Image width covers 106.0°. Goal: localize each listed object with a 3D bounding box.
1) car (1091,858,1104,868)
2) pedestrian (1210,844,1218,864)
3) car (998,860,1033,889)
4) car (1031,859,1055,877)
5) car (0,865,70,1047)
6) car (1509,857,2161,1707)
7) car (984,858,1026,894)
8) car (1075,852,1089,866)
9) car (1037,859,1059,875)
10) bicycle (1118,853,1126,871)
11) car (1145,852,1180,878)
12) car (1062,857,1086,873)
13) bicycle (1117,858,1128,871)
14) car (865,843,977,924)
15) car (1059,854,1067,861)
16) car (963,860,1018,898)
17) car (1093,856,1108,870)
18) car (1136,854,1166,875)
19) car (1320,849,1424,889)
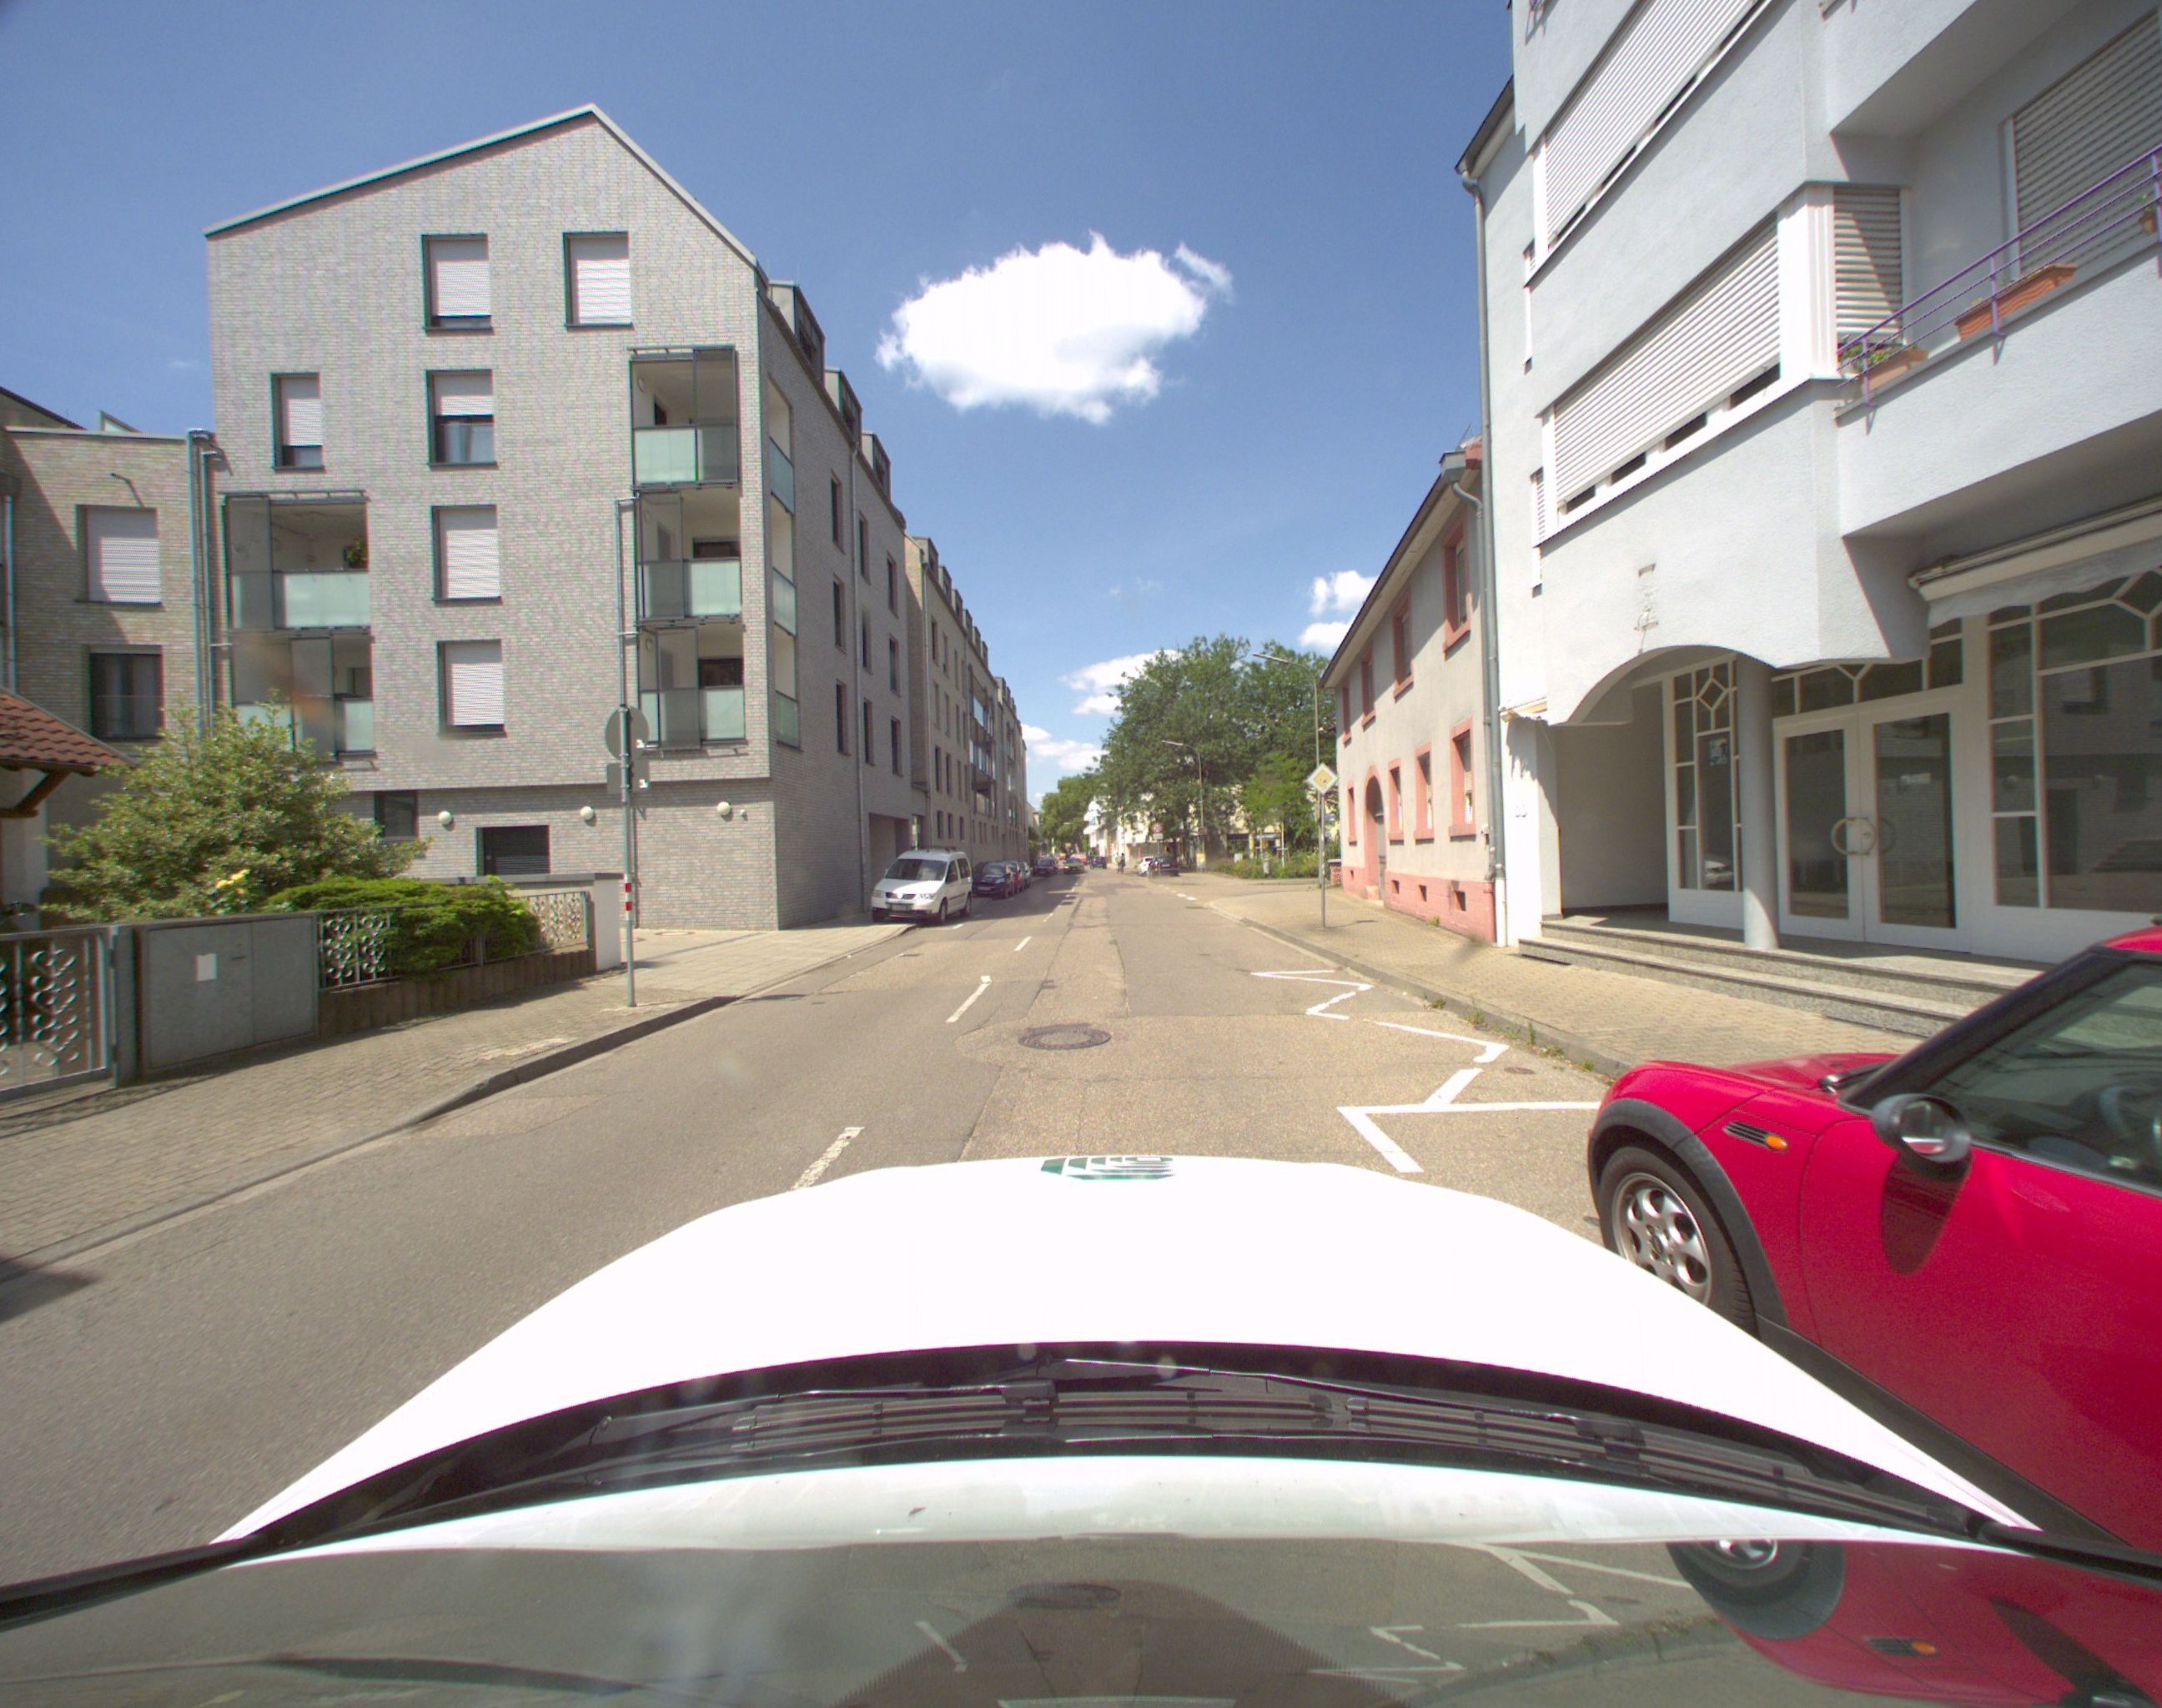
[{"bbox_3d":[2.640,1.501,134.670,1.988,1.618,3.998,-1,0,-1],"label":"car"},{"bbox_3d":[12.476,0.012,76.366,0.591,1.859,0.606,-2,0,13],"label":"pedestrian"},{"bbox_3d":[-3.502,1.071,44.135,1.585,1.456,3.703,0,0,0],"label":"car"},{"bbox_3d":[-3.201,1.181,68.914,1.727,1.442,4.000,-2,0,0],"label":"car"},{"bbox_3d":[-11.004,0.896,7.556,1.648,1.539,3.520,0,0,-45],"label":"car"},{"bbox_3d":[2.564,0.725,1.519,1.614,1.385,3.537,-2,0,-1],"label":"car"},{"bbox_3d":[-3.578,1.010,38.823,1.585,1.554,3.570,-1,0,0],"label":"car"},{"bbox_3d":[0.169,0.686,123.271,1.832,2.013,4.001,-2,0,1],"label":"car"},{"bbox_3d":[-2.991,1.162,74.055,1.727,1.442,4.000,-2,0,0],"label":"car"},{"bbox_3d":[3.576,0.677,70.416,0.478,1.490,0.572,-2,-1,-19],"label":"bicycle"},{"bbox_3d":[5.113,0.695,51.506,1.687,1.420,3.999,-4,0,0],"label":"car"},{"bbox_3d":[-0.626,1.004,74.372,1.986,1.381,4.395,0,0,2],"label":"car"},{"bbox_3d":[3.574,0.922,70.426,0.484,1.114,1.188,-2,-1,-19],"label":"bicycle"},{"bbox_3d":[-4.047,0.692,21.335,1.749,1.892,4.342,0,0,5],"label":"car"},{"bbox_3d":[-5.235,1.063,231.981,2.150,2.013,3.999,-2,0,0],"label":"car"},{"bbox_3d":[-3.695,0.999,33.888,1.716,1.456,4.007,-1,0,2],"label":"car"},{"bbox_3d":[2.195,0.986,91.929,1.709,1.402,4.001,-2,0,1],"label":"car"},{"bbox_3d":[4.994,0.747,58.476,1.773,1.420,3.999,-2,0,0],"label":"car"},{"bbox_3d":[11.659,0.596,32.807,3.586,1.448,1.742,-1,2,0],"label":"car"}]
